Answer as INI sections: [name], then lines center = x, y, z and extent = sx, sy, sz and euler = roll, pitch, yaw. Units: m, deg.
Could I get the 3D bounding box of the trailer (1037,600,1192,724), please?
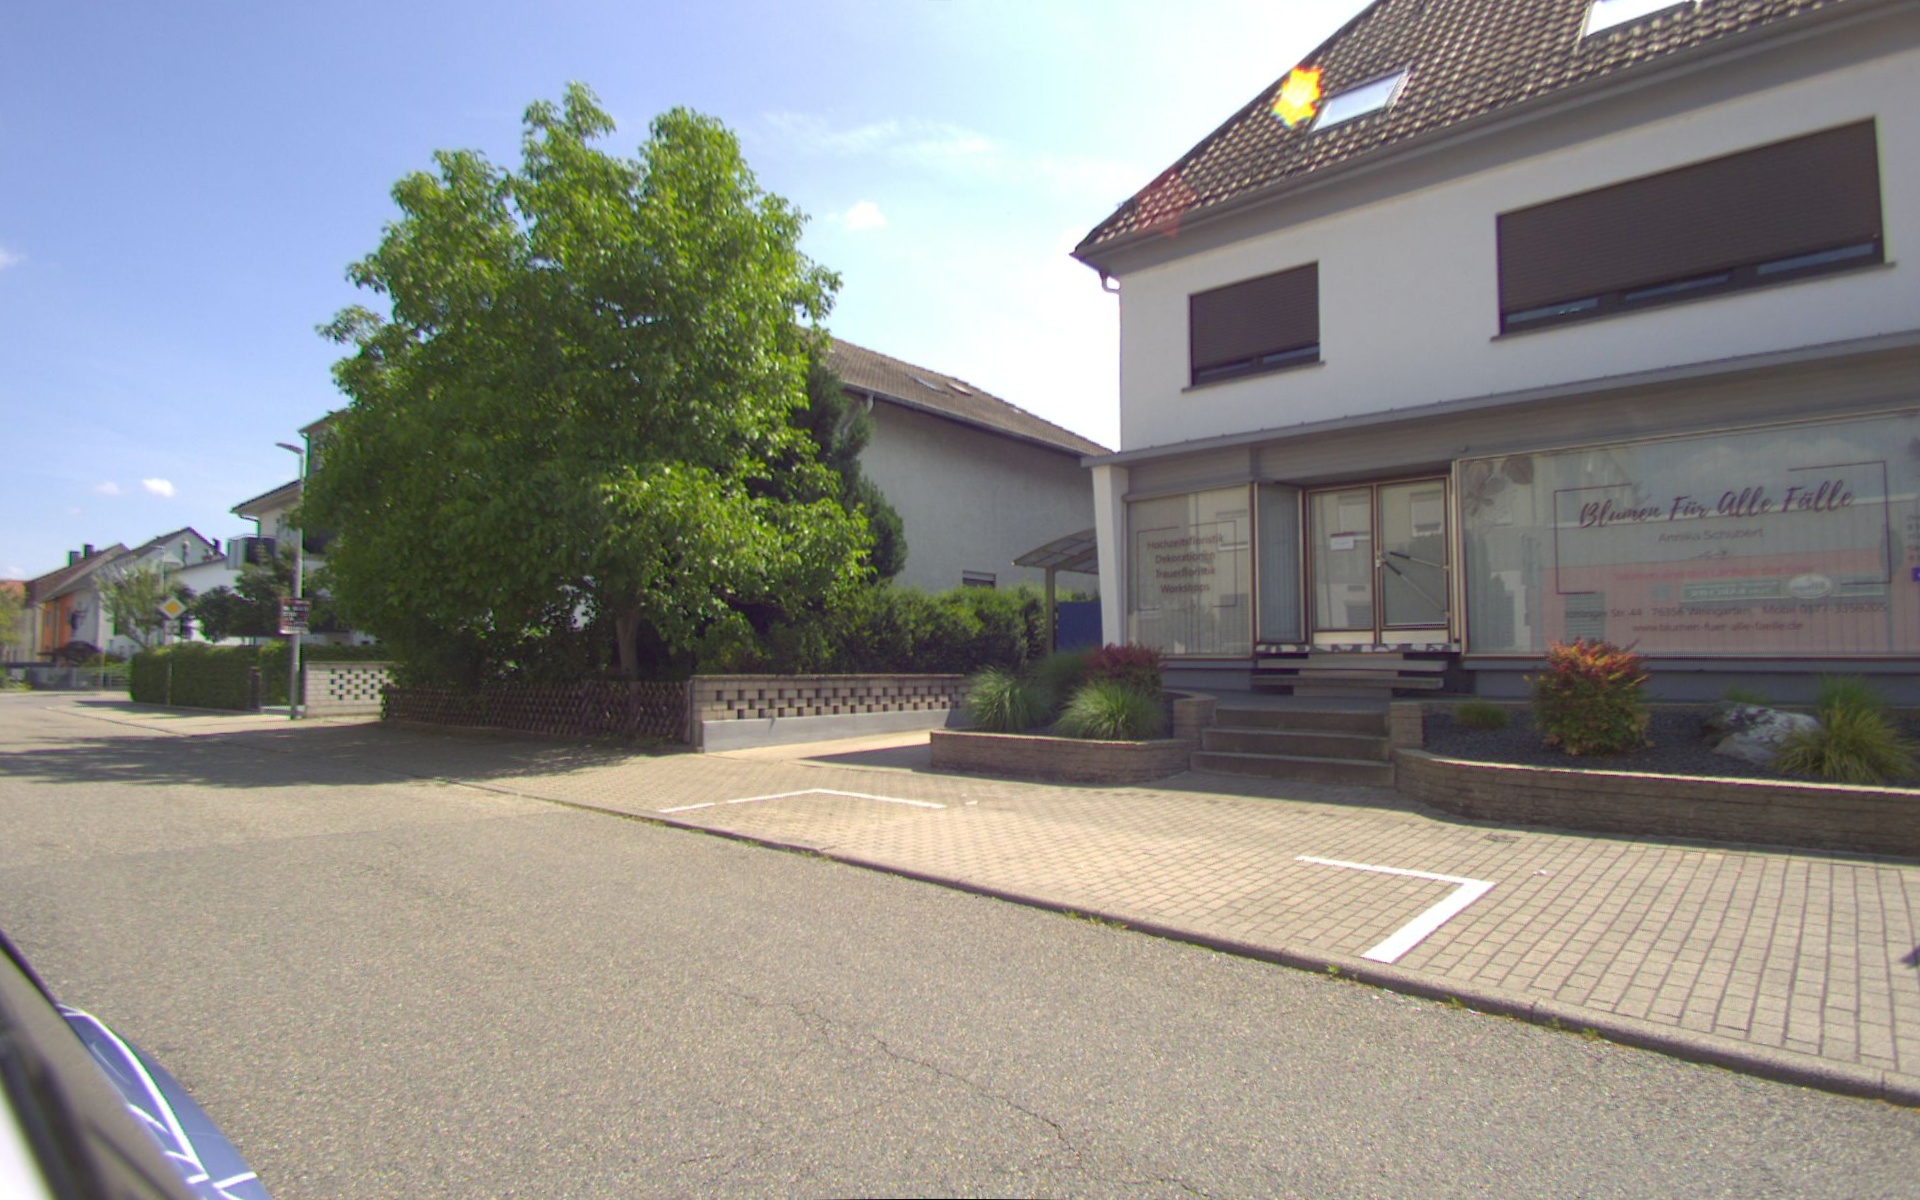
[trailer]
center = 2.986, 1.134, 19.172
extent = 1.671, 2.129, 3.140
euler = -3, -3, 35
